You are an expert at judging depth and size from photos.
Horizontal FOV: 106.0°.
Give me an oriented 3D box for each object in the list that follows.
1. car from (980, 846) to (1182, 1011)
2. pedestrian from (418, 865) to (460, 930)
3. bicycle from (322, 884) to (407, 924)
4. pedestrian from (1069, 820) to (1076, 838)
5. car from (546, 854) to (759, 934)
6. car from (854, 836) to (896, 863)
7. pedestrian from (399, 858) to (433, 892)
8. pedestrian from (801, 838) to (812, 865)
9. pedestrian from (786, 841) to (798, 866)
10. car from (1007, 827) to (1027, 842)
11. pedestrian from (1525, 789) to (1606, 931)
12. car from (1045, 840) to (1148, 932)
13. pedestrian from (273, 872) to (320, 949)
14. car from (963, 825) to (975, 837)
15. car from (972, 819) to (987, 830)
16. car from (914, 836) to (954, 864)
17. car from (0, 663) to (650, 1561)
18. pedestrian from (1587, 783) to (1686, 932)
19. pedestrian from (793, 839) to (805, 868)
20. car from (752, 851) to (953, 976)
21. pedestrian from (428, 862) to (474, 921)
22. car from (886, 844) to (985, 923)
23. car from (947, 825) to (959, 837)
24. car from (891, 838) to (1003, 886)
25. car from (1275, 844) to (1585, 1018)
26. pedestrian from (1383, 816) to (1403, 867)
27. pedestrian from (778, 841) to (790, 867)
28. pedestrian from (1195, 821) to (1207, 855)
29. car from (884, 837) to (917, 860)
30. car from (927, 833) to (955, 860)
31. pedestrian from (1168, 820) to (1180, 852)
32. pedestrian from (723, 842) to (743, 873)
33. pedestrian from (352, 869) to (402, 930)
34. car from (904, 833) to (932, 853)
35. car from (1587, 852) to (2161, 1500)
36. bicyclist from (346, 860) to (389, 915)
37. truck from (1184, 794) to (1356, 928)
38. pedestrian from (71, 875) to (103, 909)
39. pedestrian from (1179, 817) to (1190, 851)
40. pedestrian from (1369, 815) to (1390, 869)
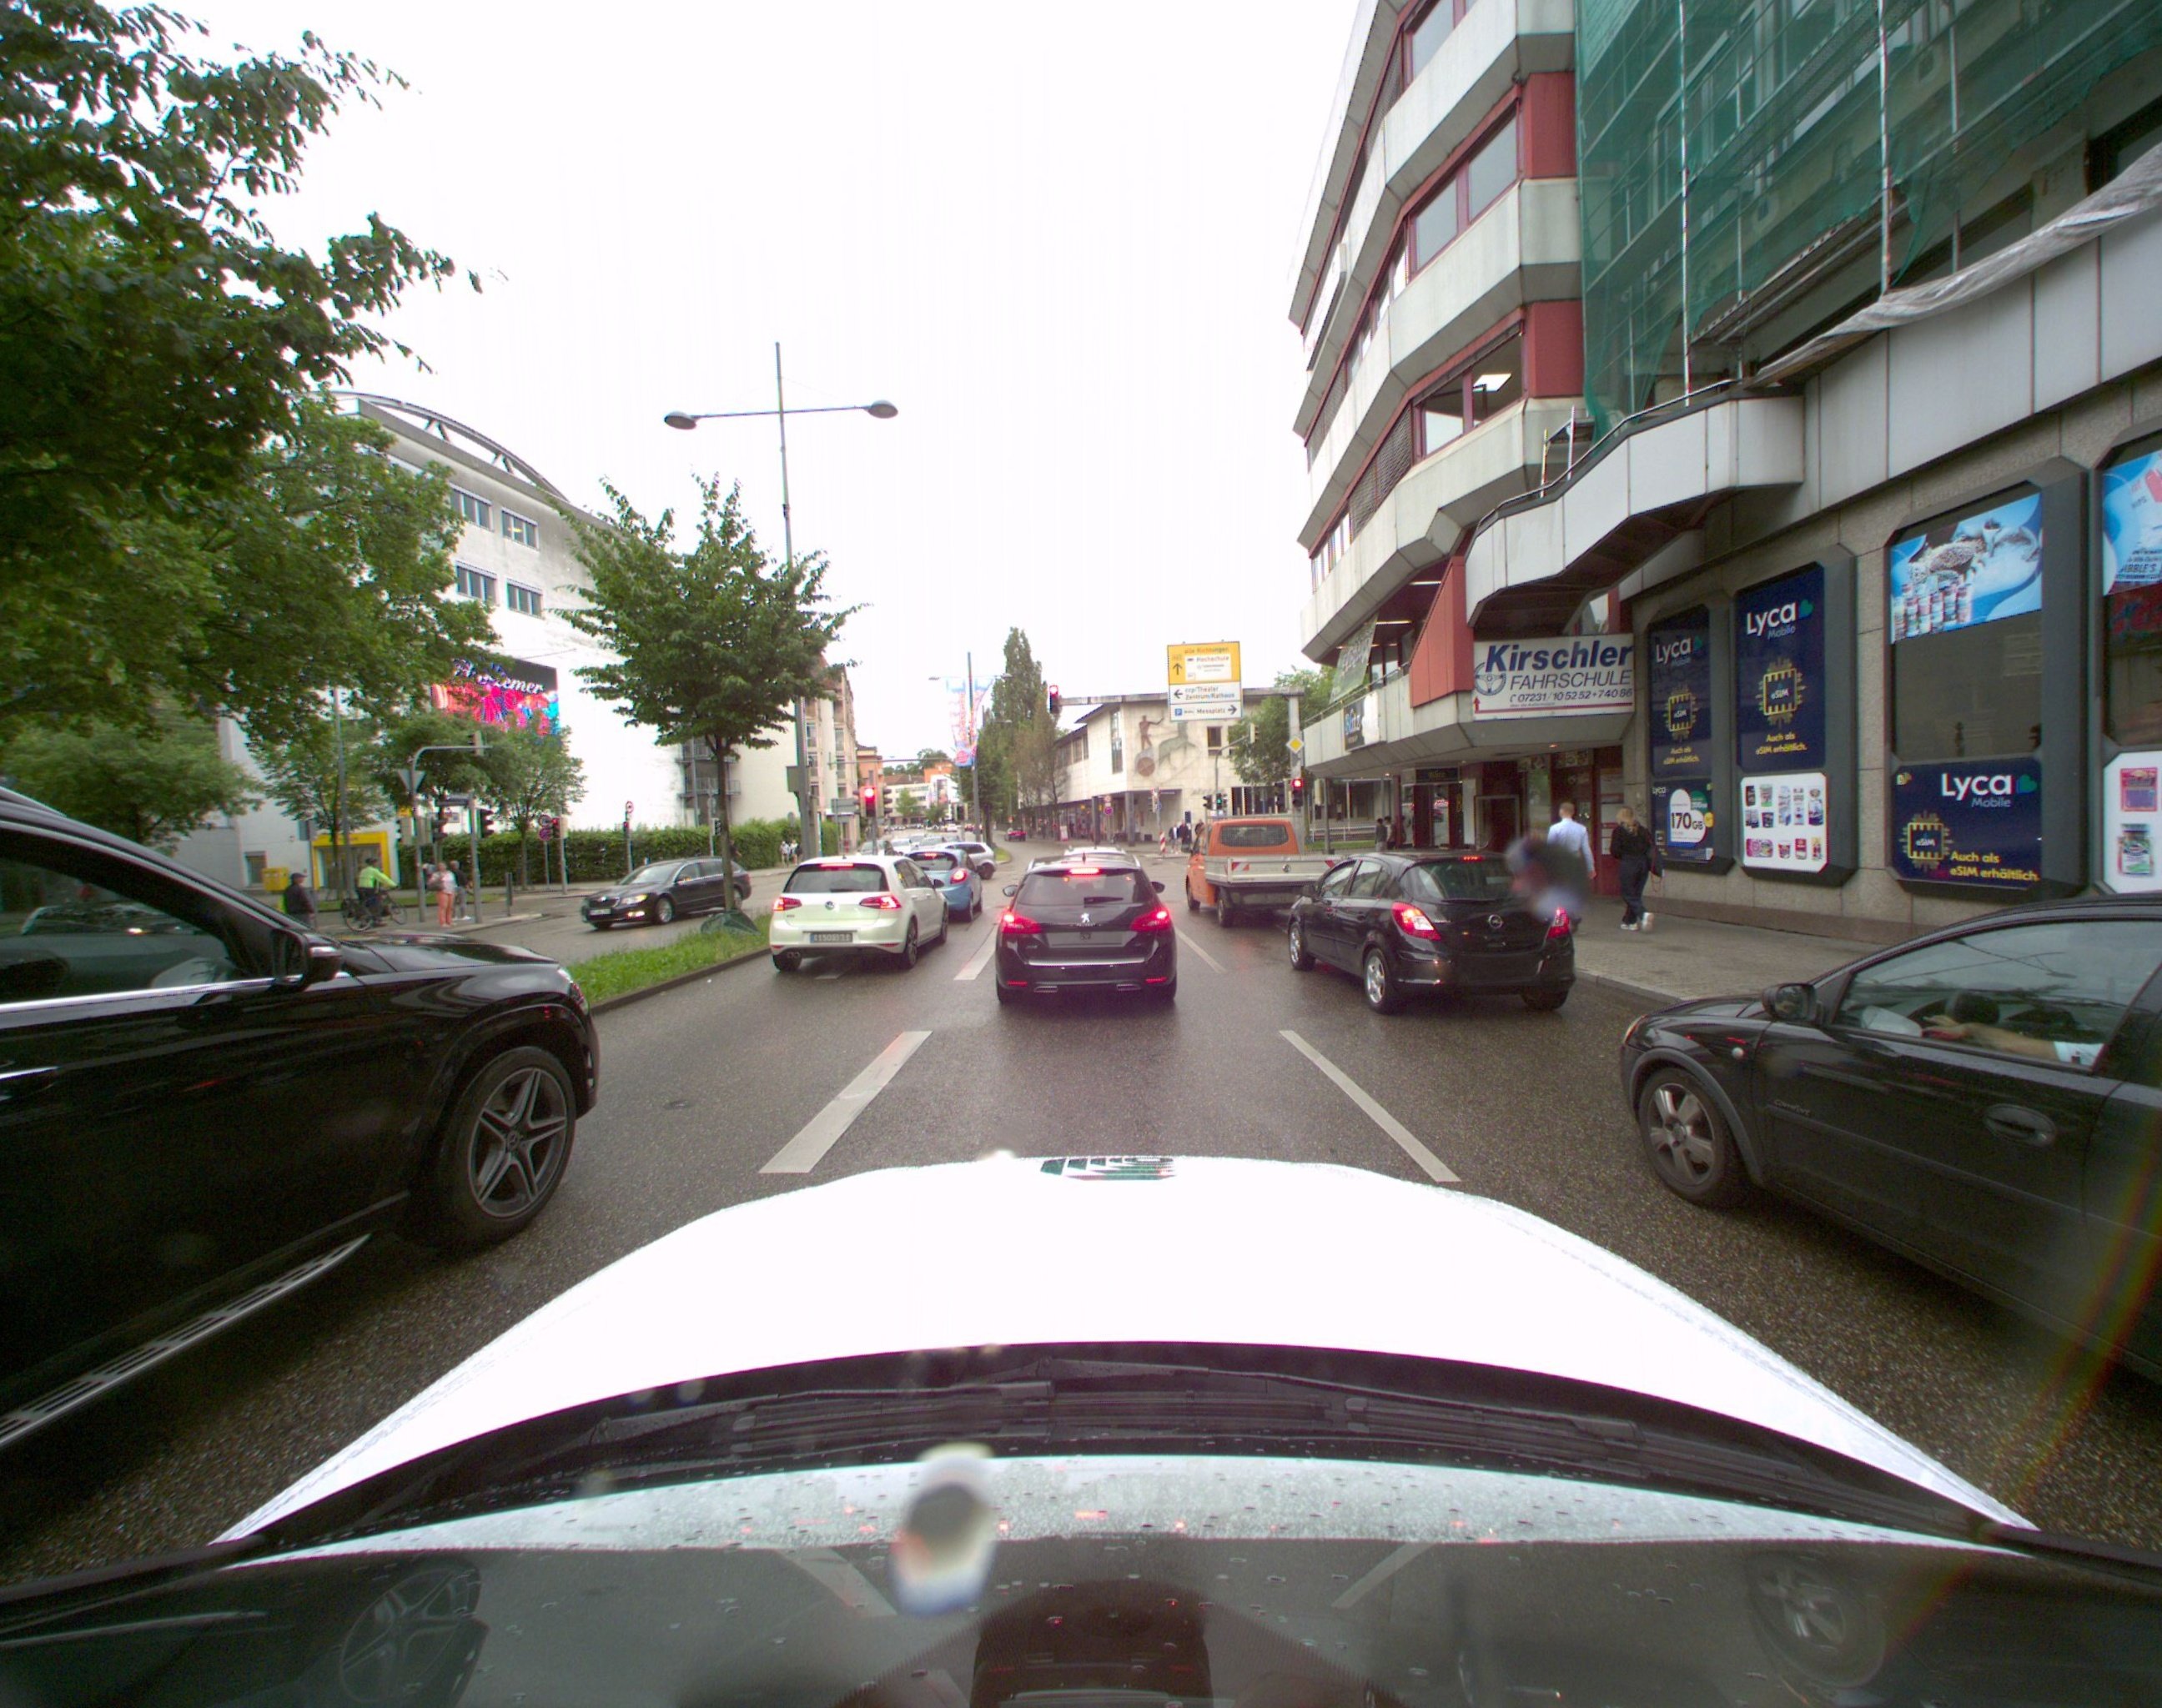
[{"bbox_3d":[0.089,0.644,9.125,1.770,1.429,3.845,-1,1,3],"label":"car"},{"bbox_3d":[-17.047,1.152,21.641,0.555,1.661,0.580,-2,2,2],"label":"pedestrian"},{"bbox_3d":[-20.266,1.393,23.091,0.613,1.000,1.941,-3,-1,2],"label":"bicycle"},{"bbox_3d":[-0.871,-2.565,83.681,0.469,1.748,0.537,0,-1,-19],"label":"pedestrian"},{"bbox_3d":[-10.125,0.868,19.748,1.620,1.486,4.758,-5,0,16],"label":"car"},{"bbox_3d":[-11.952,-0.298,47.446,1.569,1.486,3.608,-1,1,-1],"label":"car"},{"bbox_3d":[-31.905,1.011,39.097,1.059,1.578,0.683,-1,-1,-3],"label":"pedestrian"},{"bbox_3d":[-17.613,-0.164,52.206,0.538,1.748,0.564,-1,-1,-3],"label":"pedestrian"},{"bbox_3d":[-18.494,-0.046,52.119,0.579,1.599,0.526,-1,-1,-5],"label":"pedestrian"},{"bbox_3d":[-7.056,-2.149,89.777,1.787,1.454,4.494,-4,3,-9],"label":"car"},{"bbox_3d":[6.788,0.084,11.437,0.733,1.935,0.640,-1,-1,1],"label":"pedestrian"},{"bbox_3d":[0.309,0.500,15.406,1.690,1.486,3.795,-1,1,2],"label":"car"},{"bbox_3d":[-17.752,1.257,18.429,0.552,1.661,0.583,-1,2,33],"label":"pedestrian"},{"bbox_3d":[-20.411,-4.205,147.988,1.709,1.936,3.979,0,-1,-15],"label":"car"},{"bbox_3d":[-16.038,-4.673,128.401,1.727,1.490,4.710,0,-1,-14],"label":"car"},{"bbox_3d":[-8.662,-0.211,48.287,1.739,1.579,3.997,-1,-1,-1],"label":"car"},{"bbox_3d":[-3.210,0.546,1.654,1.905,1.870,5.073,-1,-1,1],"label":"car"},{"bbox_3d":[7.658,0.050,11.255,0.733,1.934,0.640,-5,-1,1],"label":"pedestrian"},{"bbox_3d":[-17.514,-0.018,50.591,0.538,1.748,0.745,-1,-1,-7],"label":"pedestrian"},{"bbox_3d":[-3.030,0.702,11.636,1.772,1.429,3.841,-1,1,0],"label":"car"},{"bbox_3d":[-18.440,1.084,23.846,0.750,1.661,0.628,-2,2,1],"label":"pedestrian"},{"bbox_3d":[-3.040,0.552,17.658,1.629,1.486,3.606,-1,1,-3],"label":"car"},{"bbox_3d":[-23.107,-4.165,146.838,1.709,1.882,3.979,0,-1,-15],"label":"car"},{"bbox_3d":[-5.014,0.284,30.616,3.766,1.468,1.622,-4,-2,-31],"label":"car"},{"bbox_3d":[3.374,0.616,8.711,1.611,1.429,3.840,-1,1,-1],"label":"car"},{"bbox_3d":[10.154,-0.404,26.529,0.395,1.640,0.504,-3,-1,2],"label":"pedestrian"},{"bbox_3d":[-18.576,0.022,50.884,0.579,1.599,0.526,-1,-1,-5],"label":"pedestrian"},{"bbox_3d":[6.824,-0.929,46.396,0.633,1.897,0.735,-1,-1,8],"label":"pedestrian"},{"bbox_3d":[-12.066,-0.381,54.562,1.630,1.486,3.604,-1,1,-4],"label":"car"},{"bbox_3d":[-9.398,-0.478,55.008,1.743,1.640,3.988,-1,-1,-9],"label":"car"},{"bbox_3d":[5.141,-0.994,45.022,0.633,1.758,0.735,-1,-1,8],"label":"pedestrian"},{"bbox_3d":[-19.148,0.200,44.826,0.632,1.643,0.737,-1,-1,20],"label":"pedestrian"},{"bbox_3d":[-20.861,1.332,24.138,0.917,1.784,0.712,-1,-1,13],"label":"pedestrian"},{"bbox_3d":[-12.331,-0.831,61.762,1.630,1.486,3.604,-1,1,-4],"label":"car"},{"bbox_3d":[3.273,0.738,2.290,1.600,1.429,3.626,-1,1,3],"label":"car"},{"bbox_3d":[-20.305,0.948,23.178,0.629,1.530,0.609,-3,-1,1],"label":"bicyclist"},{"bbox_3d":[3.429,0.056,15.892,2.170,2.172,5.020,-1,1,0],"label":"truck"},{"bbox_3d":[-48.415,1.839,39.680,0.633,1.643,0.735,-1,-1,8],"label":"pedestrian"},{"bbox_3d":[5.937,-1.147,46.703,0.633,1.897,0.735,-1,-1,8],"label":"pedestrian"},{"bbox_3d":[9.597,-0.381,26.172,0.424,1.682,0.450,-3,-1,0],"label":"pedestrian"}]
